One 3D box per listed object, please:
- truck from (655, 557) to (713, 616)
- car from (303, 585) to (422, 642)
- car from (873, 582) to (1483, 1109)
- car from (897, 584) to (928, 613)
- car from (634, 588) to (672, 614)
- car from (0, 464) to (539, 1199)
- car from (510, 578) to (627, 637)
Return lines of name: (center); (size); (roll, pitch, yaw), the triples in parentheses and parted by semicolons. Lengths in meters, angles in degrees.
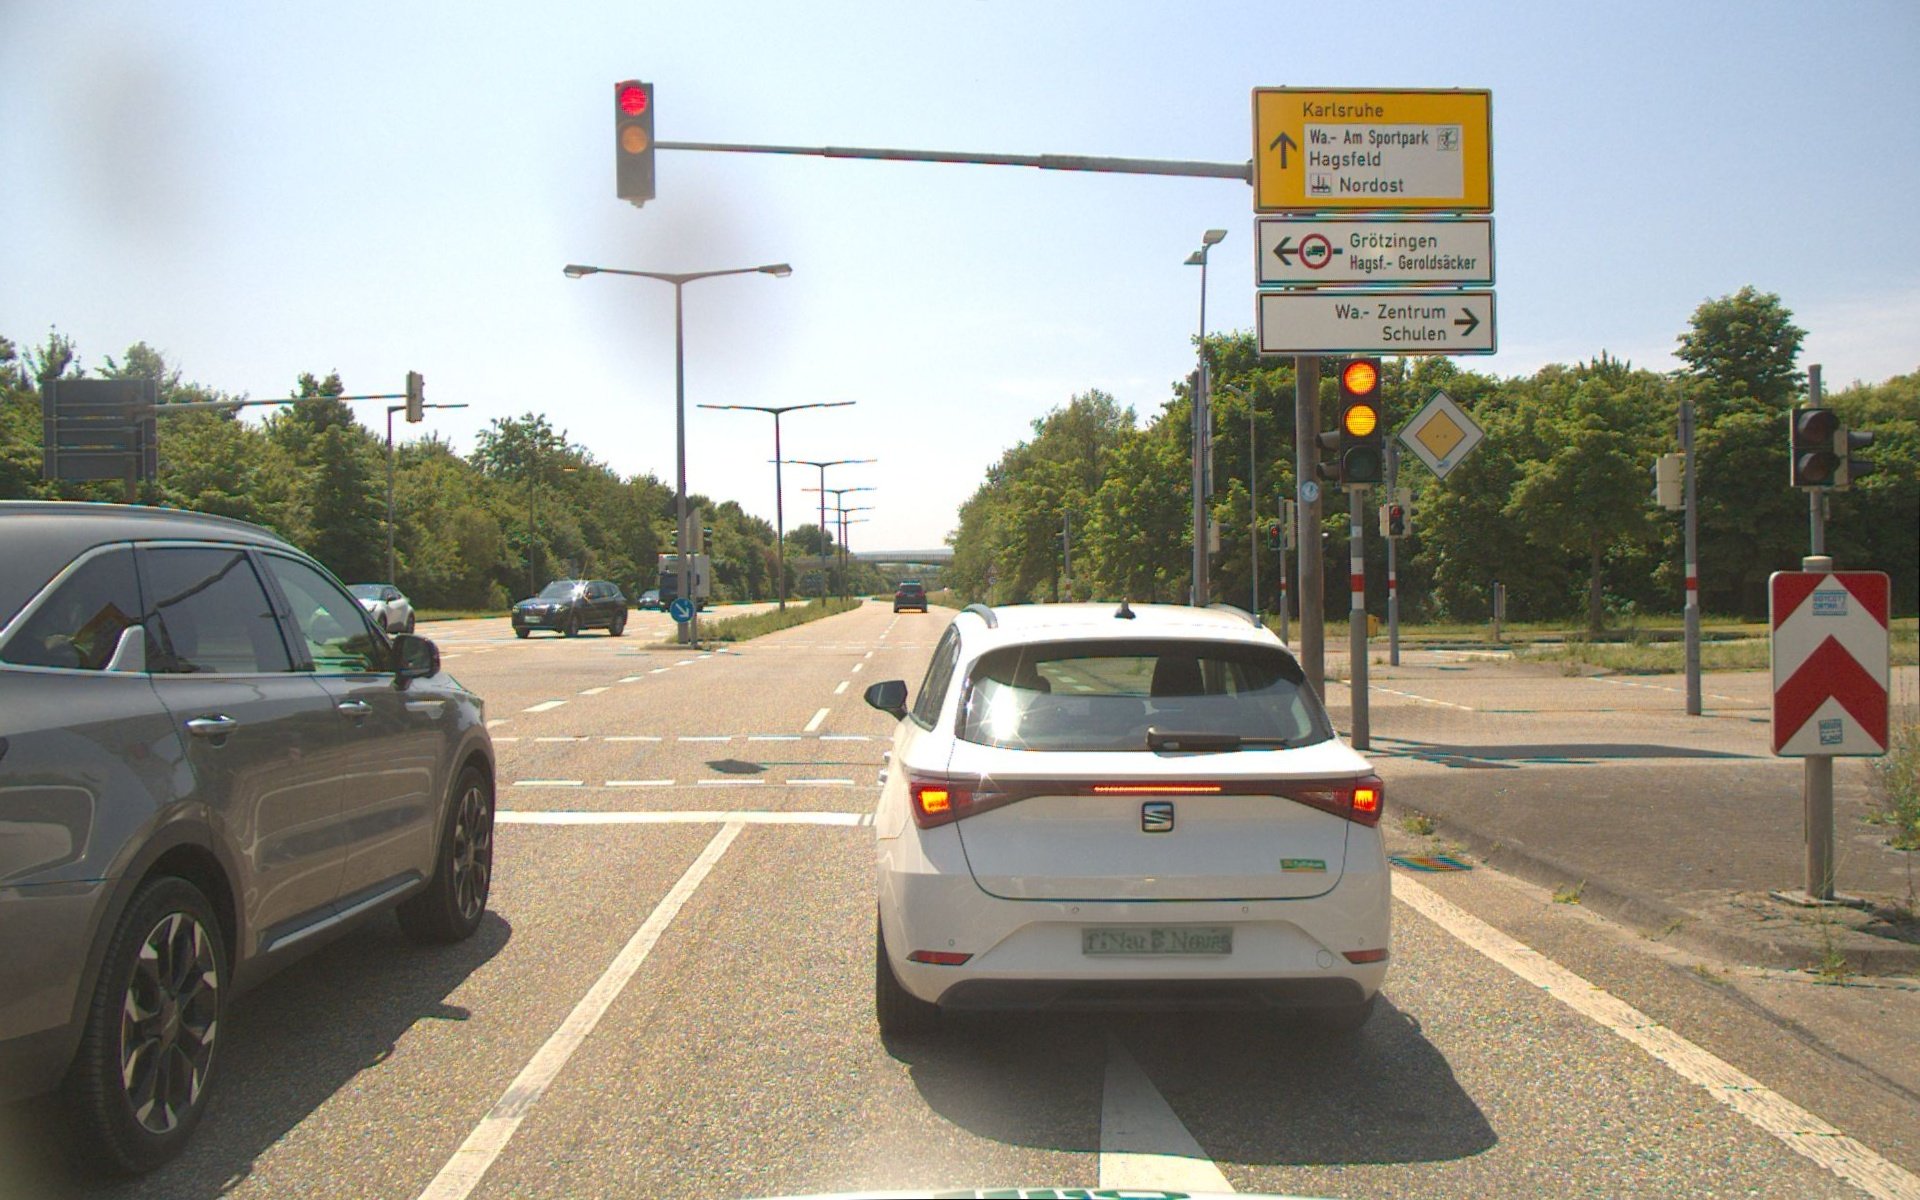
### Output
truck: (-17.594, -0.886, 105.775); (2.633, 3.633, 7.266); (0, 1, -1)
car: (-16.442, 0.330, 45.723); (1.785, 1.481, 4.168); (-1, 1, -1)
car: (0.591, 0.699, 6.493); (1.699, 1.453, 3.693); (1, 0, -1)
car: (-2.946, -0.117, 103.179); (1.817, 1.738, 3.999); (-1, 1, -1)
car: (-21.602, 0.067, 116.439); (1.785, 1.762, 4.925); (-1, 1, -1)
car: (-2.849, 0.571, 5.484); (1.767, 1.691, 4.643); (-1, 0, -1)
car: (-11.774, 0.184, 50.048); (1.670, 1.692, 4.226); (-1, 1, 14)
